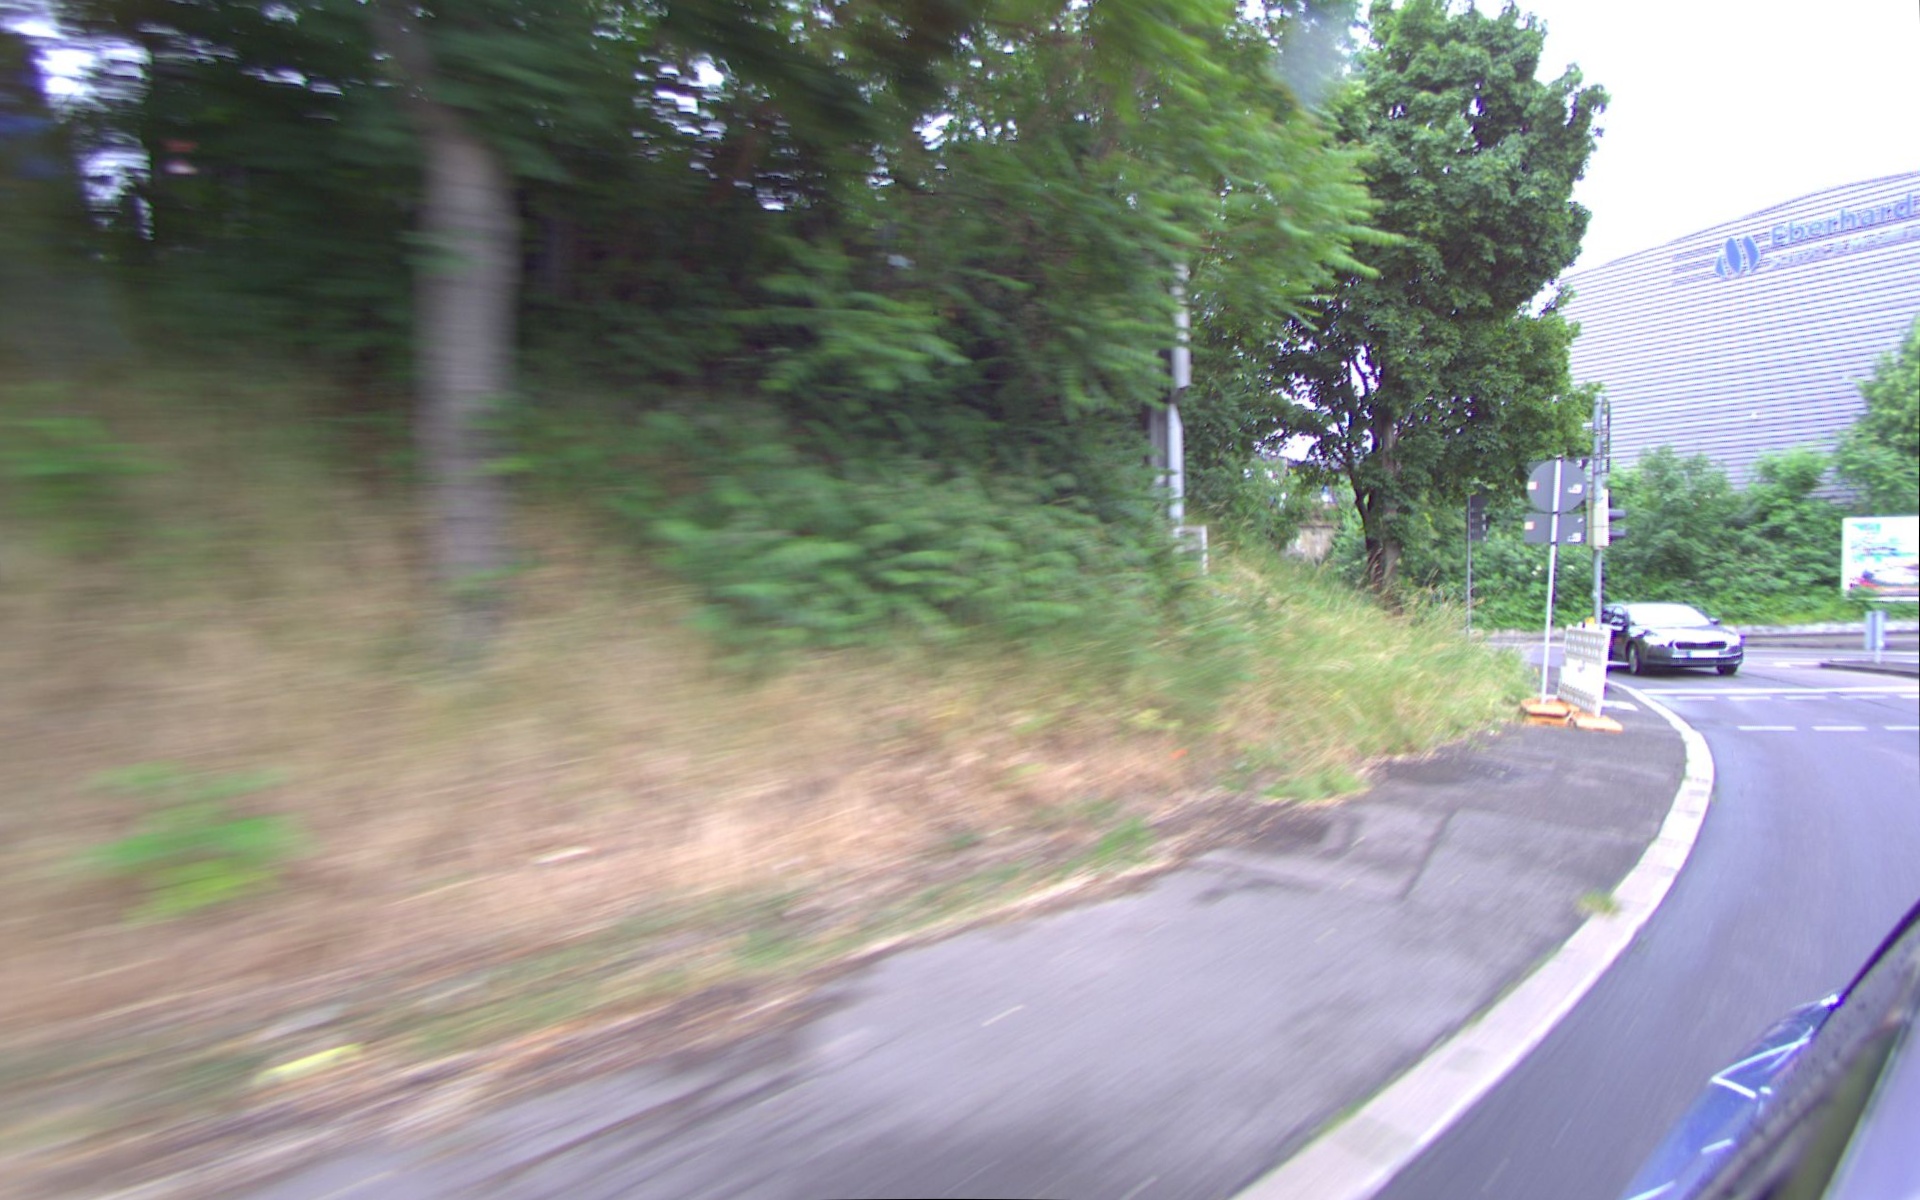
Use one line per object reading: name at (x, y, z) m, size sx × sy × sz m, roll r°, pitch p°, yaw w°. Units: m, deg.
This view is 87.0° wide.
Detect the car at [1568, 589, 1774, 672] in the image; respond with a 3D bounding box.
car at (14.590, 0.613, 21.084) m, size 1.781 × 1.537 × 4.042 m, roll -1°, pitch -1°, yaw 8°
